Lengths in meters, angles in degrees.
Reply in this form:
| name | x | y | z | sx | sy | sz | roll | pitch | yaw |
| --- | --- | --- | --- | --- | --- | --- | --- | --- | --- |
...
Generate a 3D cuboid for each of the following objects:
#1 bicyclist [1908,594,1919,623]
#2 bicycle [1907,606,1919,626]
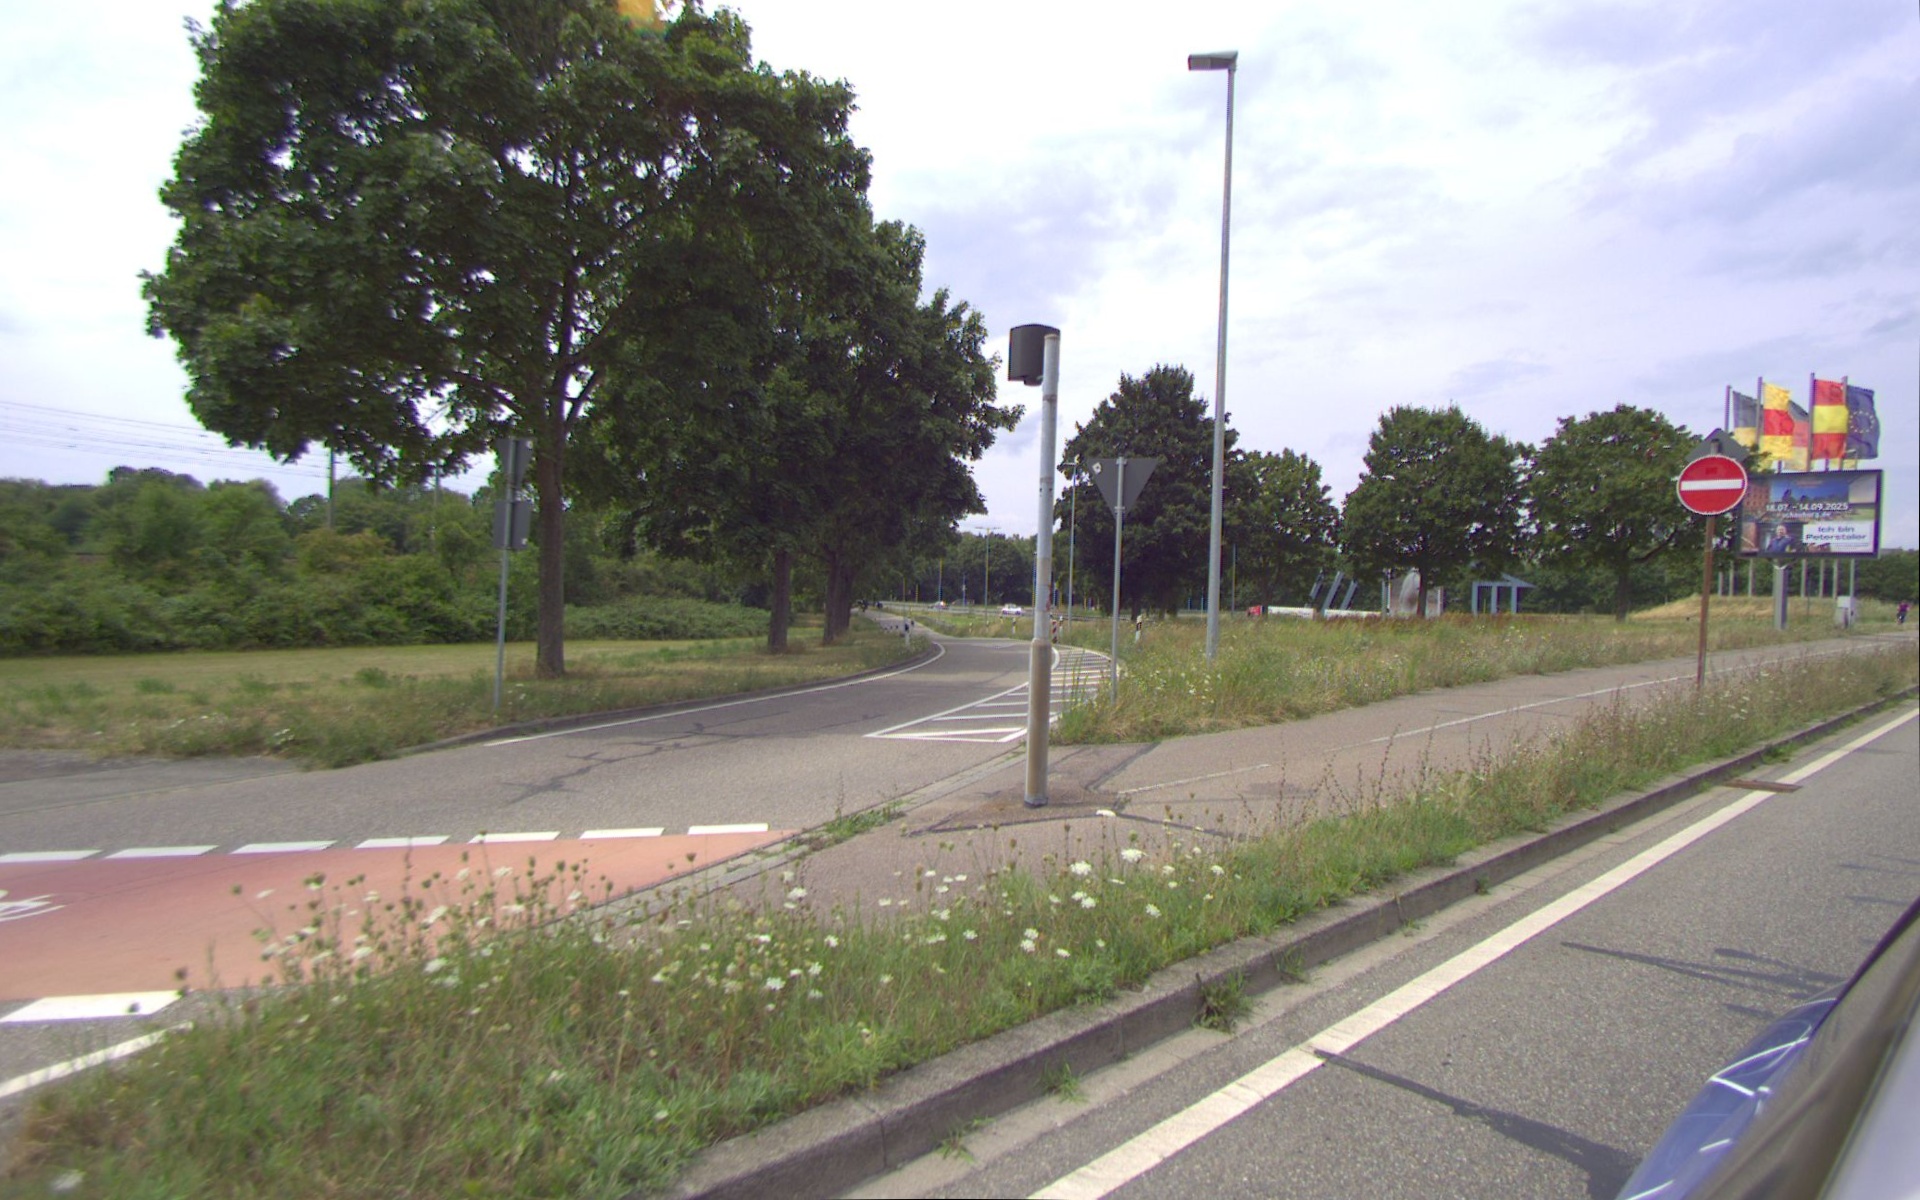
| name | x | y | z | sx | sy | sz | roll | pitch | yaw |
| --- | --- | --- | --- | --- | --- | --- | --- | --- | --- |
| bicyclist | 58.572 | 0.537 | 61.893 | 0.974 | 1.777 | 0.704 | 2 | 0 | -41 |
| bicycle | 58.491 | 1.000 | 61.829 | 2.418 | 1.207 | 0.695 | 1 | 1 | -41 |
